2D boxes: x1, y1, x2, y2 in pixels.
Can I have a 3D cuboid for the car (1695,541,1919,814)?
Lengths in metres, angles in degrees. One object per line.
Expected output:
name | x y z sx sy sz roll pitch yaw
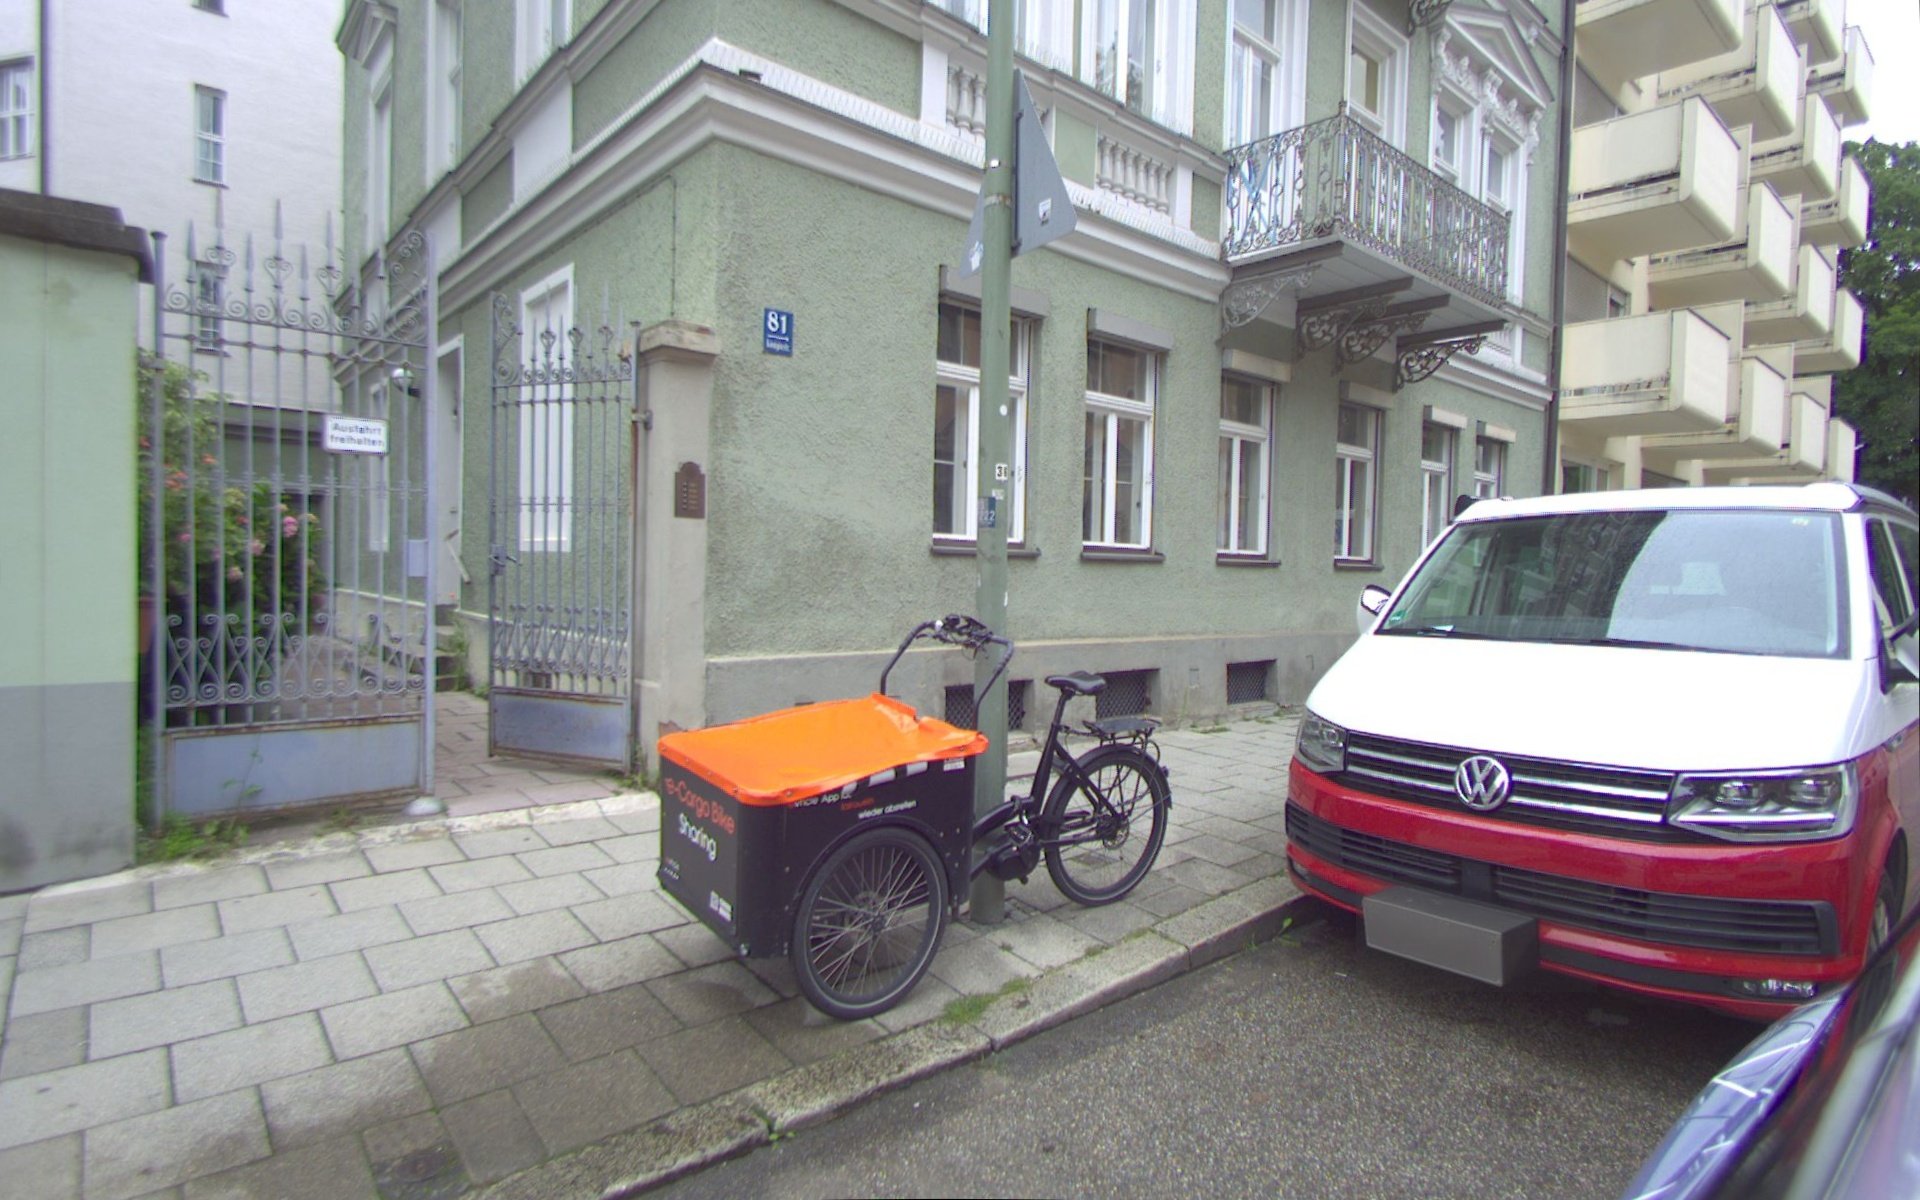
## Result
car | 7.734 0.514 8.328 4.474 1.780 1.830 1 0 -42

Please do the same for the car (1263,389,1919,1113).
car | 3.538 0.394 4.871 4.511 1.920 1.857 0 0 -41

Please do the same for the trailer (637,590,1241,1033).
trailer | -0.016 0.606 3.899 2.124 1.198 0.946 0 5 -37

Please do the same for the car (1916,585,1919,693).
car | 16.177 0.585 15.764 3.909 1.591 1.549 0 0 -42
